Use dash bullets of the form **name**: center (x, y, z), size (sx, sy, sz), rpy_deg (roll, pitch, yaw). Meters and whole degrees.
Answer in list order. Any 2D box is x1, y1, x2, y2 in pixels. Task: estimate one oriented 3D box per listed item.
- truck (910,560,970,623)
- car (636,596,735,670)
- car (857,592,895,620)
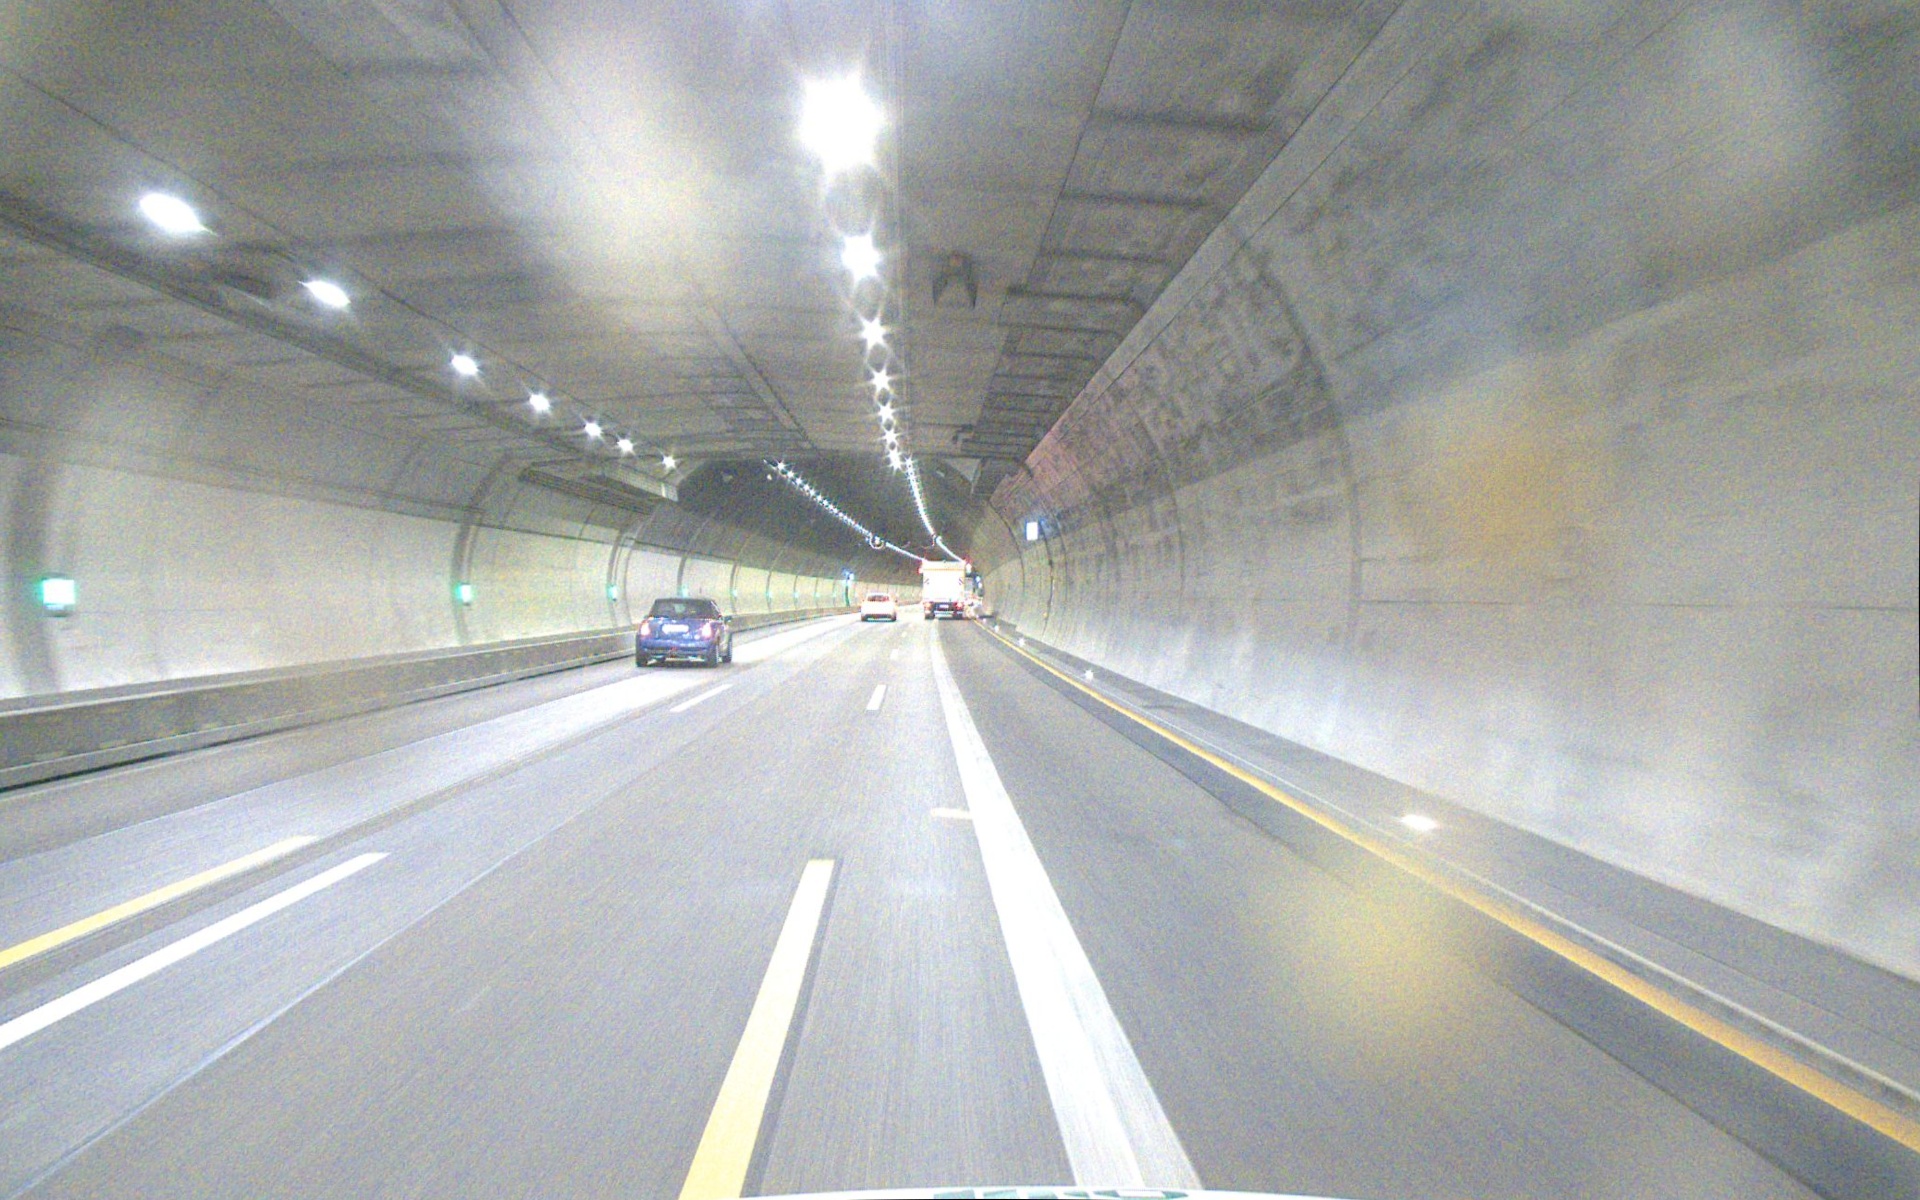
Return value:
- **truck**: center (-1.221, -0.518, 102.653), size (3.519, 3.714, 10.721), rpy_deg (0, 0, 0)
- **car**: center (-5.711, 0.645, 34.722), size (1.656, 1.442, 3.920), rpy_deg (0, 0, -4)
- **car**: center (-4.476, 0.291, 88.044), size (1.954, 1.437, 4.739), rpy_deg (0, 0, -4)
